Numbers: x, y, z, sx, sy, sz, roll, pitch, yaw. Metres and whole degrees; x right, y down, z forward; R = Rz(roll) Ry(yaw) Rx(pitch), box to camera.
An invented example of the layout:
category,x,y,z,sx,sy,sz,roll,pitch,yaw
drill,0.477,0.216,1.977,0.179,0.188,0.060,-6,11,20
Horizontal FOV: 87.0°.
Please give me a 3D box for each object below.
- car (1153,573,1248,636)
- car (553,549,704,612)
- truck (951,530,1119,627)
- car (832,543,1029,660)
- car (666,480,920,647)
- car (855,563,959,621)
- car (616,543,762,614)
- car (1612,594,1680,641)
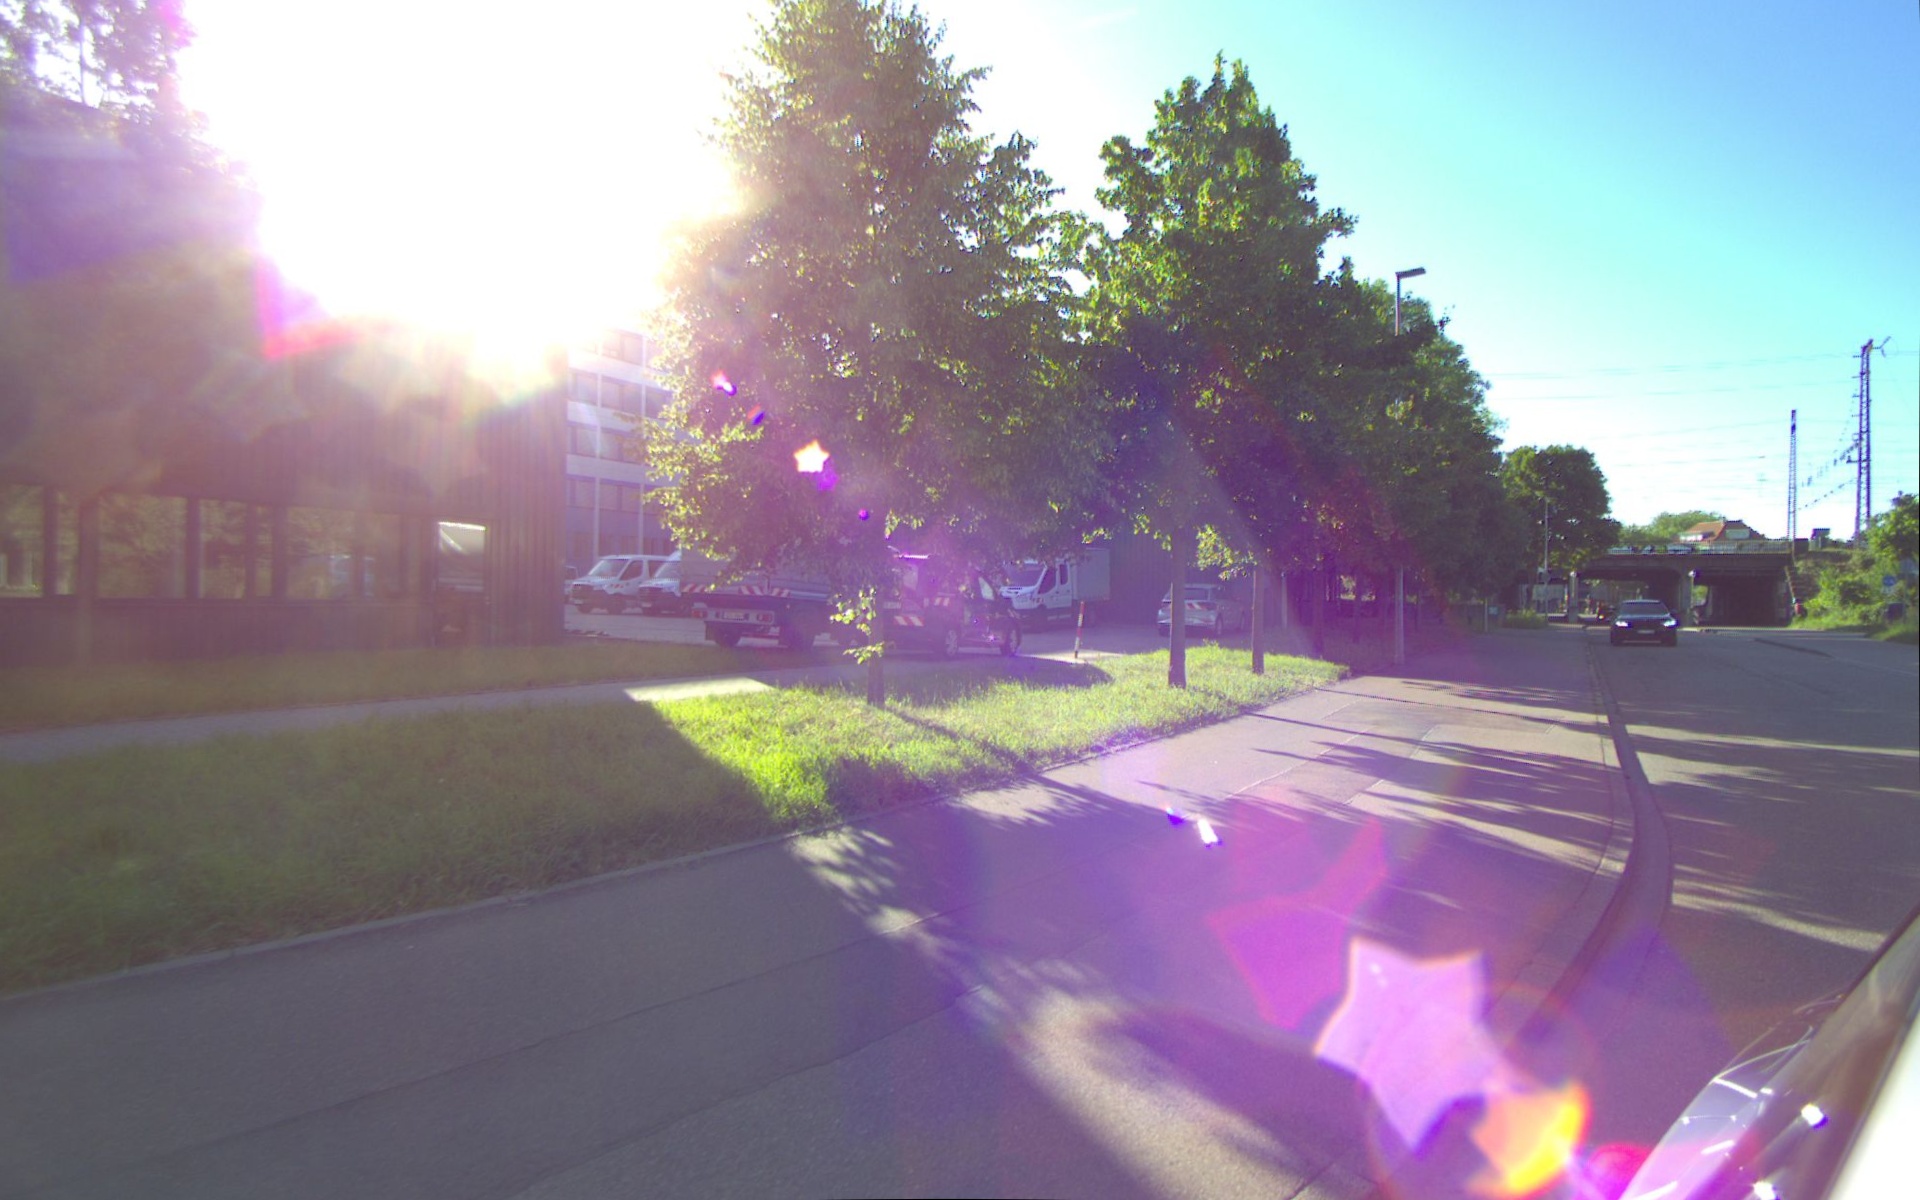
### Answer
category,x,y,z,sx,sy,sz,roll,pitch,yaw
car,6.844,0.063,28.551,1.761,1.503,3.617,2,4,28
car,-12.955,-0.730,39.970,2.232,2.284,5.737,1,0,28
truck,2.503,-0.612,31.712,2.559,2.726,6.342,0,0,33
car,-0.404,0.002,18.730,1.882,1.881,4.201,2,1,26
car,-3.050,-0.531,19.841,2.216,2.808,5.085,1,-2,28
car,-1.735,-0.333,34.168,1.764,1.747,3.730,2,4,31
car,-10.298,-0.780,38.991,2.038,2.520,5.772,1,0,28
car,26.078,0.612,38.440,2.025,1.653,4.555,0,0,35
